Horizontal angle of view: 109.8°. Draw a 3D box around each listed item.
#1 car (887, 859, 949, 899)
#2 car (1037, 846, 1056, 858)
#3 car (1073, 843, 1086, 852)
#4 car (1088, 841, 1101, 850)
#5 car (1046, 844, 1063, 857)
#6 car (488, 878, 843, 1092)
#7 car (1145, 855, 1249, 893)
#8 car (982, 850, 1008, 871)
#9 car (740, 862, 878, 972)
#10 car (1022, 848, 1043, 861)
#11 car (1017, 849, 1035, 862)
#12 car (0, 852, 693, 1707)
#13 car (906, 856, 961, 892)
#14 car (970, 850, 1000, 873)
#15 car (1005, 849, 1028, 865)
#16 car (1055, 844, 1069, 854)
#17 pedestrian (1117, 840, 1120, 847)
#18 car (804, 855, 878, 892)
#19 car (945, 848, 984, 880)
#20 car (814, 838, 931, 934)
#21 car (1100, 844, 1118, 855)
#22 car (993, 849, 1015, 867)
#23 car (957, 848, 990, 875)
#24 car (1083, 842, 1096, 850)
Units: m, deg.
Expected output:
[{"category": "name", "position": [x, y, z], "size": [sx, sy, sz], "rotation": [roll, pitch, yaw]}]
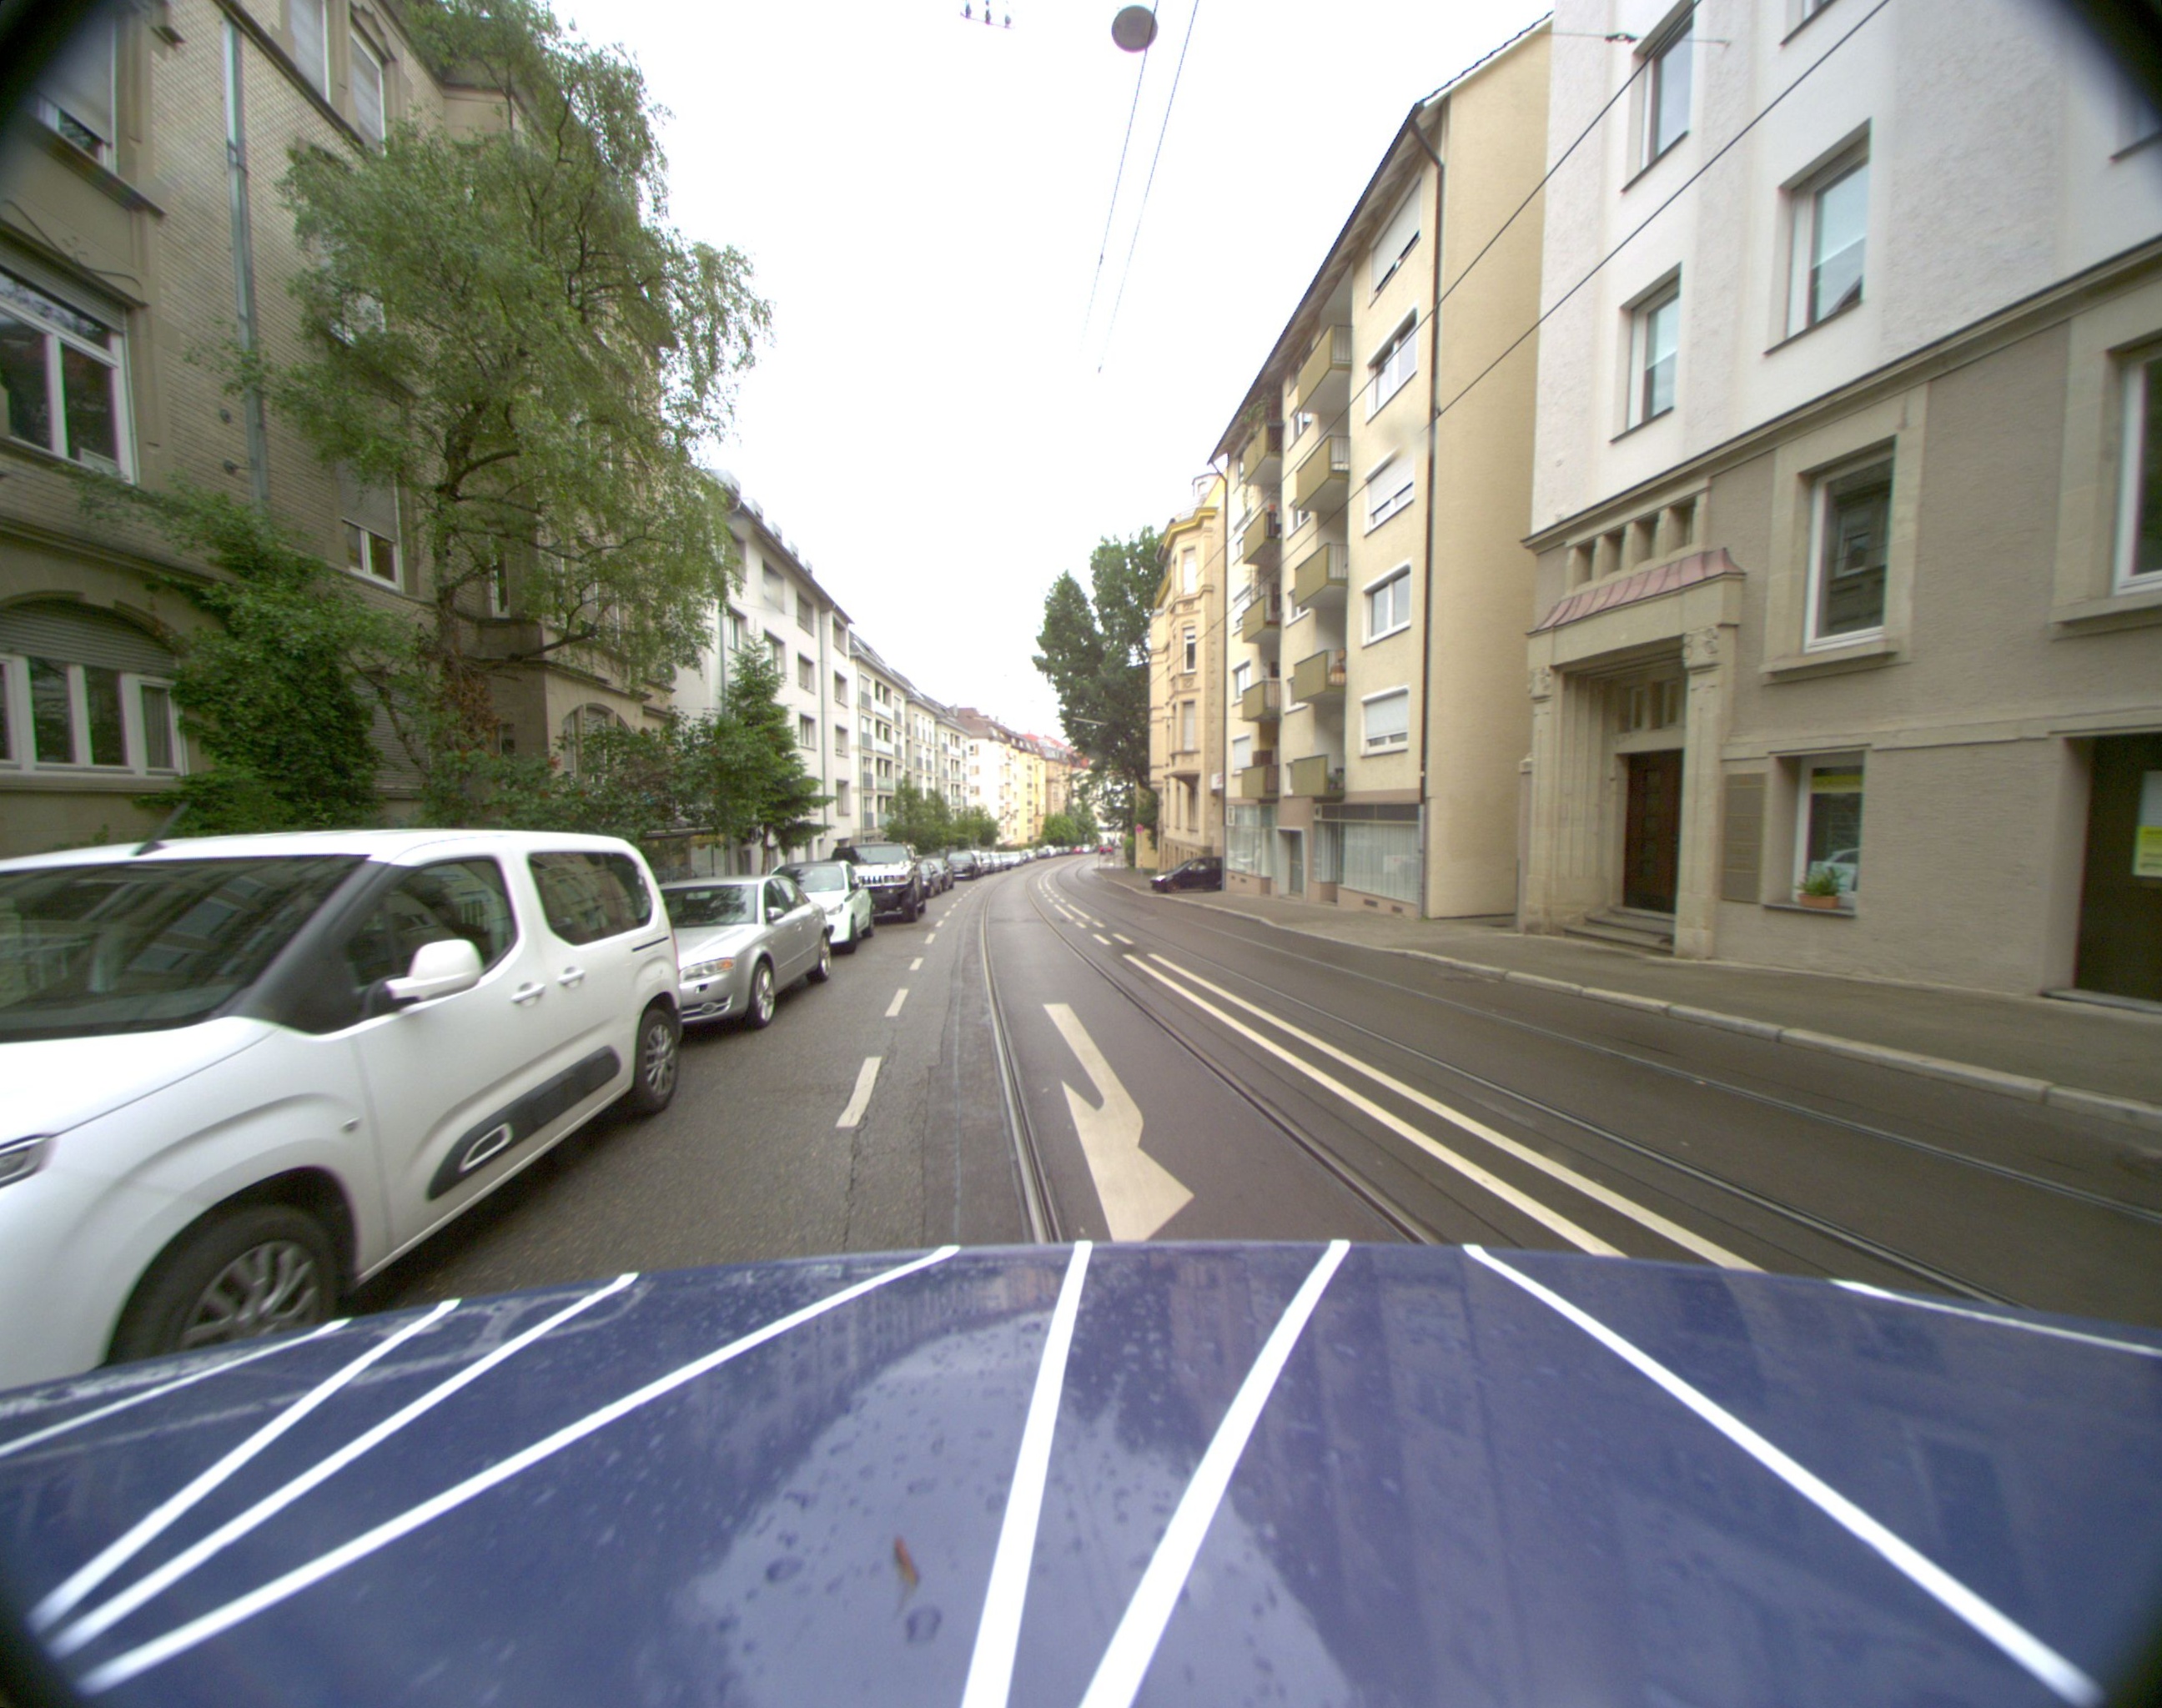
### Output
[{"category": "car", "position": [-6.257, 0.917, 29.542], "size": [1.683, 1.330, 3.881], "rotation": [-2, 1, -3]}, {"category": "car", "position": [-4.629, -0.283, 102.794], "size": [1.797, 1.444, 4.104], "rotation": [-2, 2, 9]}, {"category": "car", "position": [-0.250, -1.099, 129.580], "size": [1.556, 1.360, 3.126], "rotation": [-2, 2, 13]}, {"category": "car", "position": [2.615, -1.620, 143.291], "size": [1.612, 1.434, 3.690], "rotation": [-1, 2, 13]}, {"category": "car", "position": [-3.787, -0.533, 108.182], "size": [1.798, 1.613, 3.868], "rotation": [-2, 2, 6]}, {"category": "car", "position": [-3.946, 1.094, 8.223], "size": [1.754, 1.392, 4.475], "rotation": [-3, 1, -7]}, {"category": "car", "position": [4.784, 0.827, 31.674], "size": [3.999, 1.445, 1.739], "rotation": [-1, 1, -5]}, {"category": "car", "position": [-7.312, 0.522, 64.709], "size": [1.837, 1.618, 4.661], "rotation": [-1, 1, -2]}, {"category": "car", "position": [-4.632, 0.977, 13.425], "size": [1.565, 1.537, 3.581], "rotation": [-3, 1, -9]}, {"category": "car", "position": [-5.866, 0.073, 92.246], "size": [1.721, 1.459, 4.391], "rotation": [-1, 1, 6]}, {"category": "car", "position": [-6.260, 0.201, 87.226], "size": [1.600, 1.416, 3.515], "rotation": [-1, 1, 4]}, {"category": "car", "position": [-3.336, 0.920, 2.996], "size": [1.803, 1.755, 4.459], "rotation": [-3, 1, -9]}, {"category": "car", "position": [-6.622, 0.840, 34.512], "size": [1.799, 1.429, 4.609], "rotation": [-2, 1, -3]}, {"category": "car", "position": [-7.442, 0.534, 59.151], "size": [1.837, 1.647, 4.685], "rotation": [-1, 1, -1]}, {"category": "car", "position": [-6.767, 0.294, 79.842], "size": [1.862, 1.507, 4.789], "rotation": [-1, 1, 2]}, {"category": "car", "position": [-2.887, -0.719, 117.231], "size": [1.590, 1.434, 3.476], "rotation": [-2, 2, 6]}, {"category": "pedestrian", "position": [8.450, -2.417, 171.129], "size": [0.649, 1.652, 0.650], "rotation": [0, 1, 4]}, {"category": "car", "position": [-10.692, 0.824, 34.208], "size": [1.817, 1.418, 4.153], "rotation": [-3, 1, 2]}, {"category": "car", "position": [-7.227, 0.577, 47.544], "size": [1.948, 1.785, 4.818], "rotation": [-2, 1, -4]}, {"category": "car", "position": [-5.137, 0.682, 19.514], "size": [2.135, 2.002, 5.346], "rotation": [-3, 1, -8]}, {"category": "car", "position": [4.667, -0.777, 124.304], "size": [2.067, 1.668, 4.774], "rotation": [2, 3, 13]}, {"category": "car", "position": [-7.118, 0.340, 70.393], "size": [1.981, 1.576, 4.563], "rotation": [-1, 1, -5]}, {"category": "car", "position": [-7.443, 0.484, 52.974], "size": [1.783, 1.785, 4.469], "rotation": [-1, 1, -3]}, {"category": "car", "position": [1.529, -1.439, 138.265], "size": [1.612, 1.434, 3.690], "rotation": [-1, 2, 13]}]
